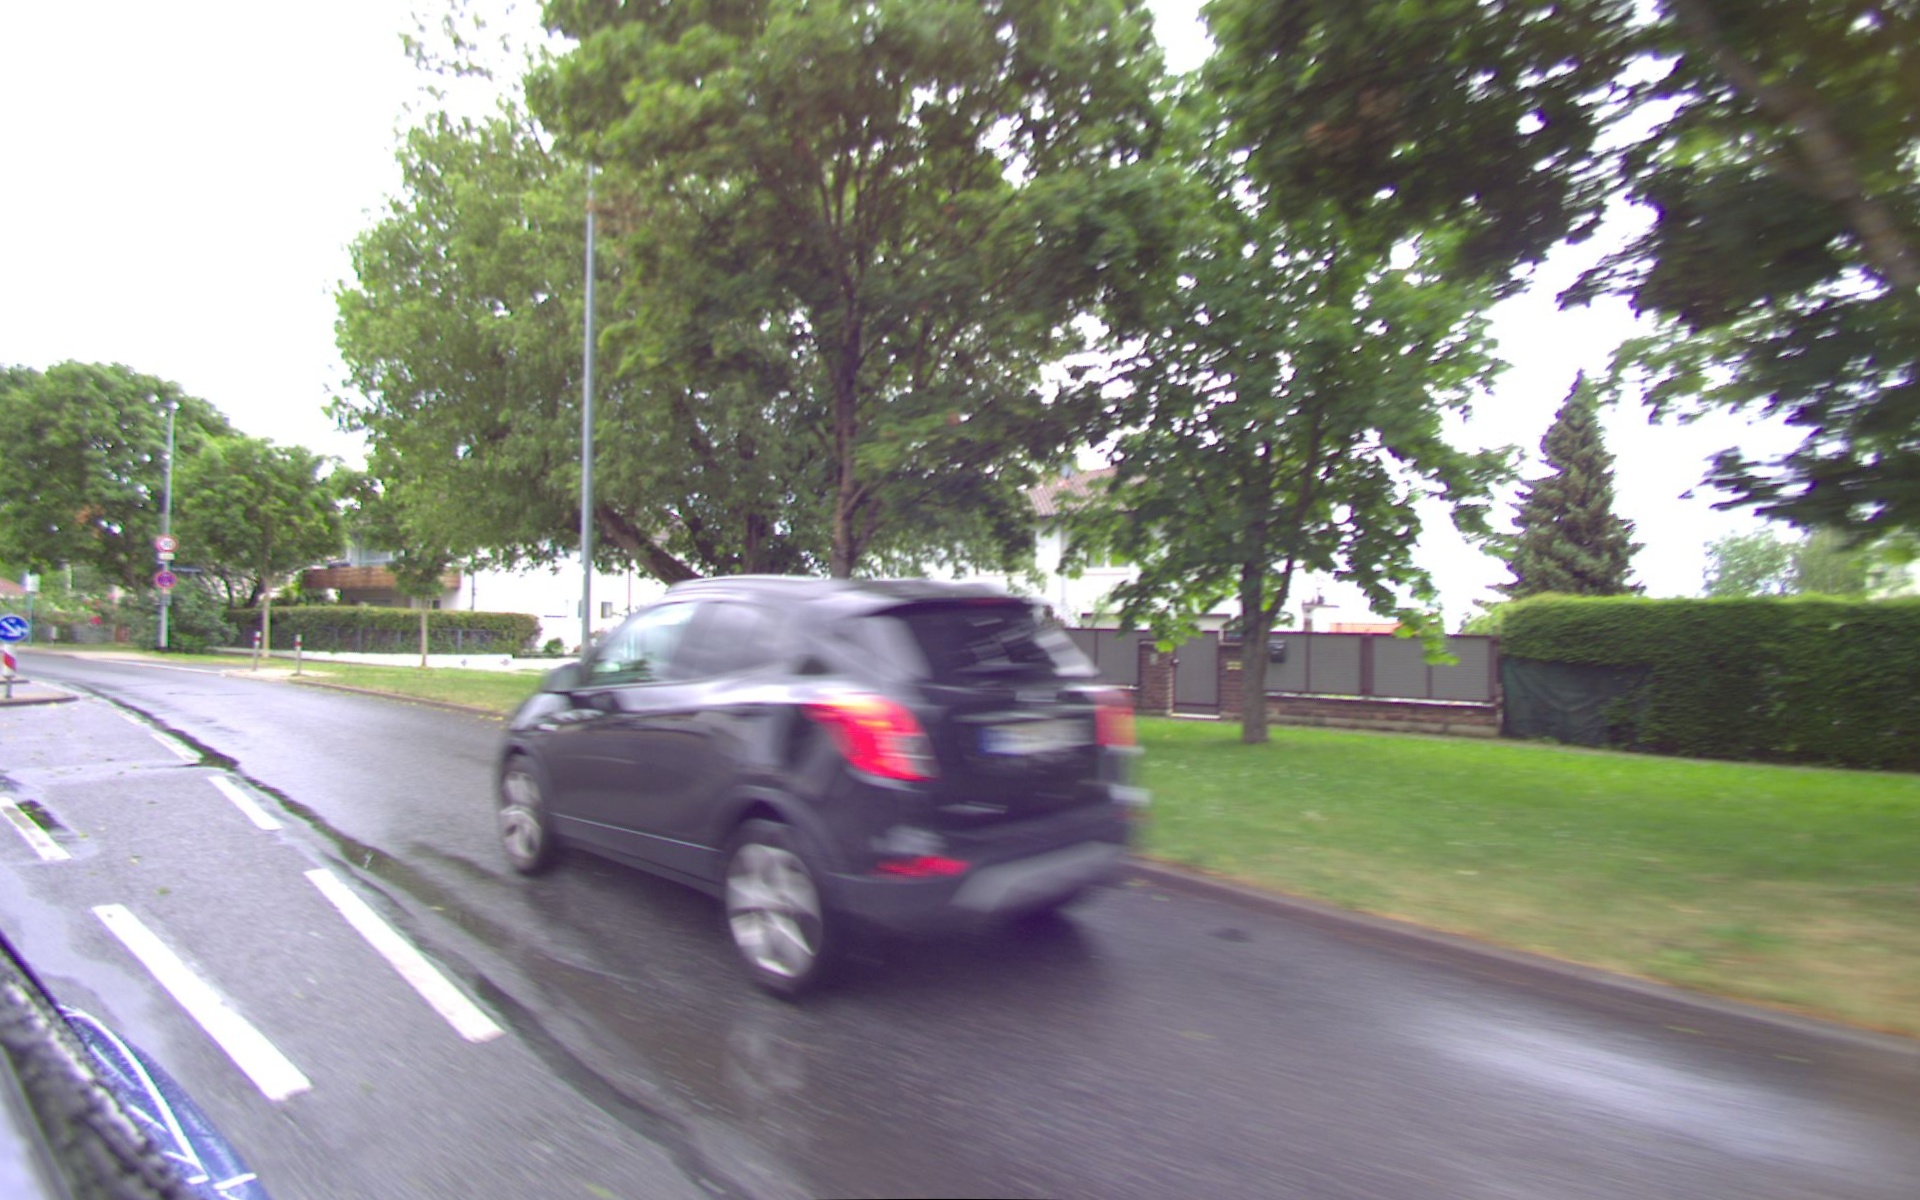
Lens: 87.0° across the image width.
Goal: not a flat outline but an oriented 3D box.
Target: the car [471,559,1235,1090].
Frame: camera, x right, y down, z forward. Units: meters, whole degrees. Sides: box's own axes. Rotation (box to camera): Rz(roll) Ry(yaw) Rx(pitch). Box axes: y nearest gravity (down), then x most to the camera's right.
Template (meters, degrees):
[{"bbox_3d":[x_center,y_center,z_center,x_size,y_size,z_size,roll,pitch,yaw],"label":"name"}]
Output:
[{"bbox_3d":[-0.887,0.697,5.178,1.689,1.609,4.175,1,-1,-44],"label":"car"}]
